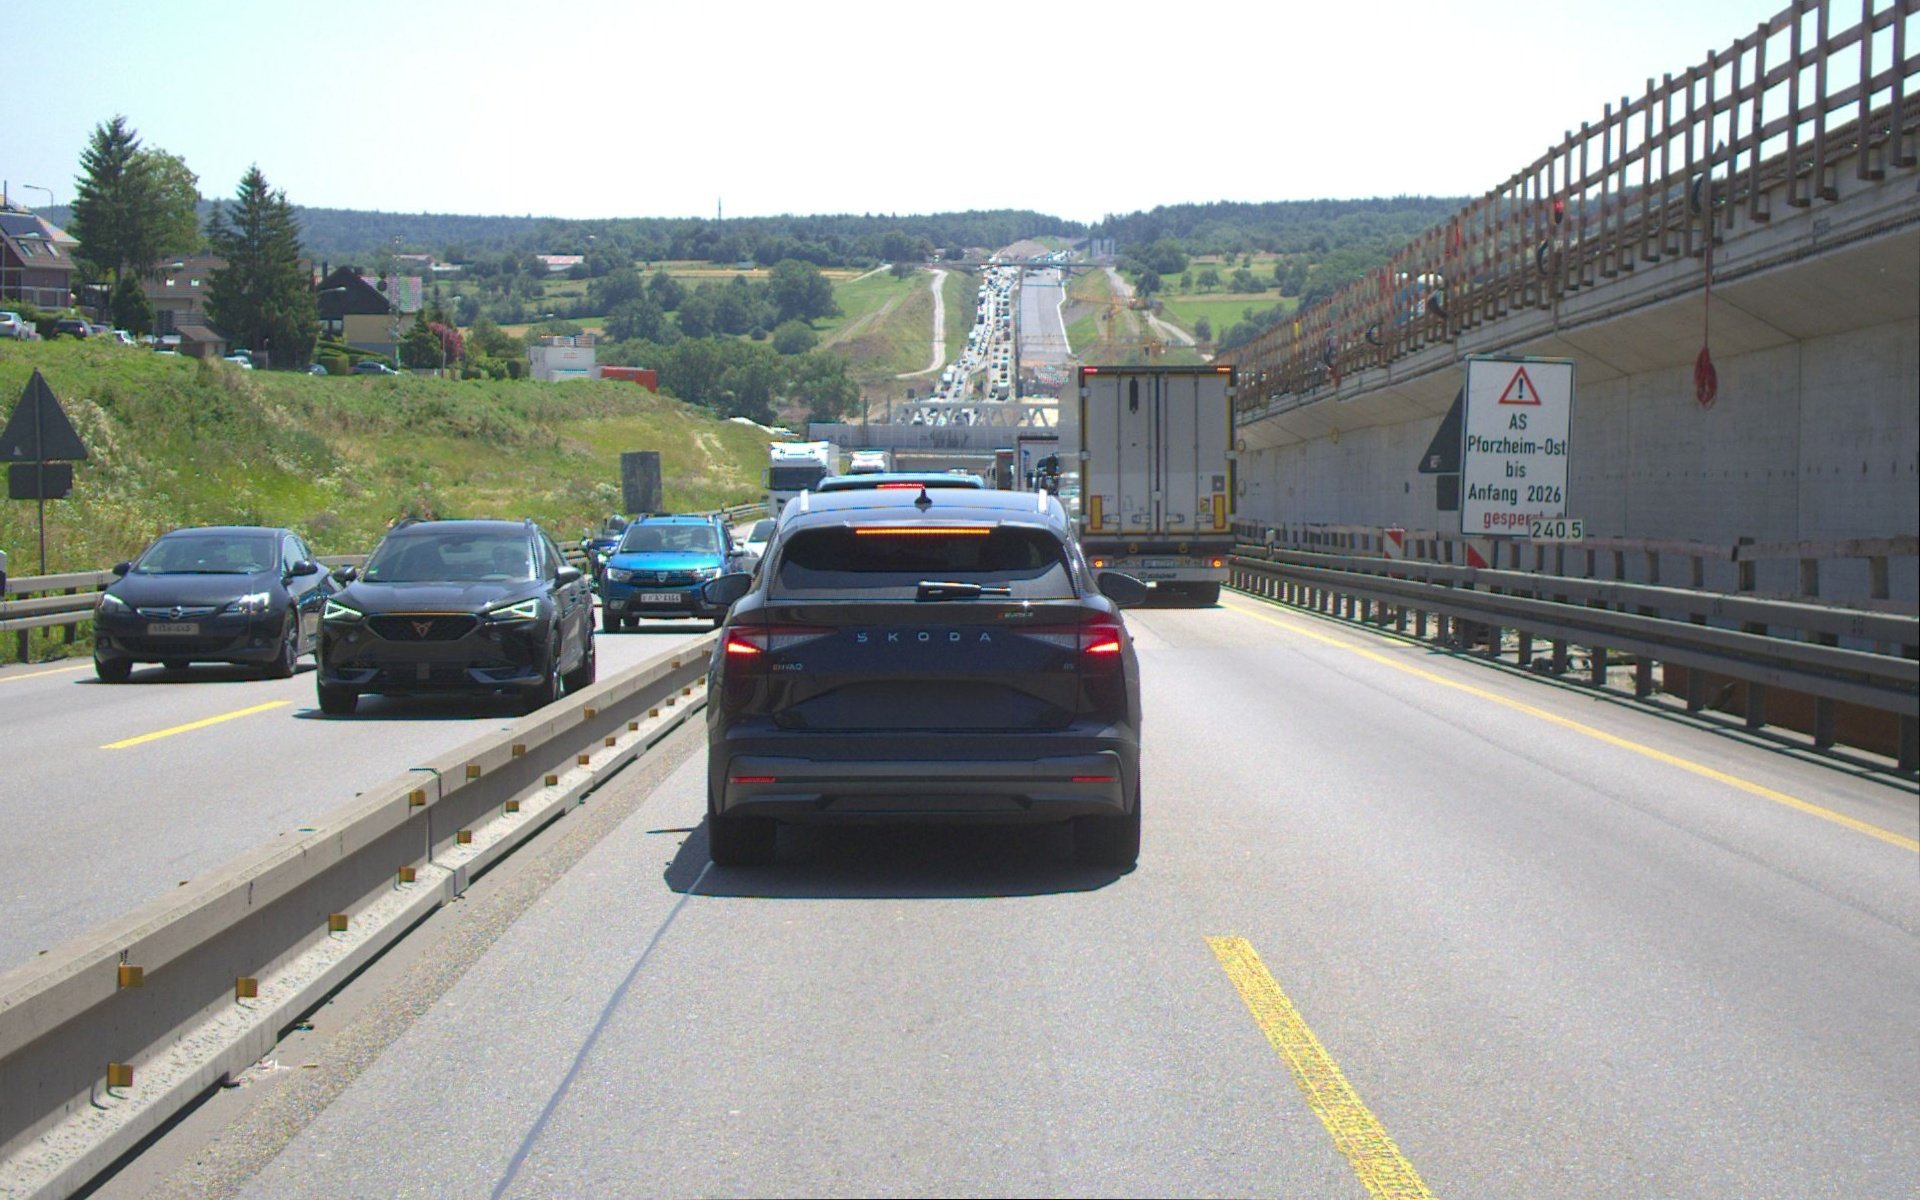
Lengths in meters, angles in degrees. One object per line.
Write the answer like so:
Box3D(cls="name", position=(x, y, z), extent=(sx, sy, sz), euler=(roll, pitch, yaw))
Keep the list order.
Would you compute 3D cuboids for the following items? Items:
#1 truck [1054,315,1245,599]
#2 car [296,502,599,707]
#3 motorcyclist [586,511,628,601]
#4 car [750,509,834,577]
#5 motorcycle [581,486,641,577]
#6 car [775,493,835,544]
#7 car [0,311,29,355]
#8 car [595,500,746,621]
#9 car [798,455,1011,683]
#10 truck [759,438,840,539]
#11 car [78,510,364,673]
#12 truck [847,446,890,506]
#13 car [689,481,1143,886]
Box3D(cls="truck", position=(3.264, -2.404, 62.122), extent=(2.846, 4.599, 11.811), euler=(1, 1, 1))
Box3D(cls="car", position=(-4.062, 0.011, 27.882), extent=(1.842, 1.525, 4.294), euler=(0, 1, 0))
Box3D(cls="motorcyclist", position=(-6.237, -0.773, 60.807), extent=(0.665, 1.579, 0.736), euler=(0, 1, 0))
Box3D(cls="car", position=(-3.703, -1.284, 76.455), extent=(1.766, 1.481, 3.866), euler=(0, 1, -1))
Box3D(cls="motorcycle", position=(-6.186, -1.232, 61.090), extent=(0.790, 1.546, 2.621), euler=(1, 2, 0))
Box3D(cls="car", position=(-4.554, -2.422, 101.621), extent=(1.691, 1.481, 3.750), euler=(0, 1, -1))
Box3D(cls="car", position=(-41.901, -11.663, 150.404), extent=(1.924, 1.722, 4.001), euler=(0, 1, -10))
Box3D(cls="car", position=(-3.961, -0.575, 47.547), extent=(1.763, 1.604, 3.892), euler=(0, 1, 0))
Box3D(cls="car", position=(-0.547, -0.307, 31.428), extent=(1.749, 1.888, 3.756), euler=(2, 1, -2))
Box3D(cls="truck", position=(-6.931, -4.738, 147.958), extent=(3.180, 4.223, 6.486), euler=(0, 1, -5))
Box3D(cls="car", position=(-7.239, -0.110, 34.167), extent=(1.813, 1.443, 5.007), euler=(2, 1, -1))
Box3D(cls="truck", position=(-6.543, -8.860, 246.872), extent=(2.753, 4.212, 8.100), euler=(1, 1, 1))
Box3D(cls="car", position=(-0.204, 0.288, 15.380), extent=(1.782, 1.592, 3.755), euler=(0, 1, -1))
